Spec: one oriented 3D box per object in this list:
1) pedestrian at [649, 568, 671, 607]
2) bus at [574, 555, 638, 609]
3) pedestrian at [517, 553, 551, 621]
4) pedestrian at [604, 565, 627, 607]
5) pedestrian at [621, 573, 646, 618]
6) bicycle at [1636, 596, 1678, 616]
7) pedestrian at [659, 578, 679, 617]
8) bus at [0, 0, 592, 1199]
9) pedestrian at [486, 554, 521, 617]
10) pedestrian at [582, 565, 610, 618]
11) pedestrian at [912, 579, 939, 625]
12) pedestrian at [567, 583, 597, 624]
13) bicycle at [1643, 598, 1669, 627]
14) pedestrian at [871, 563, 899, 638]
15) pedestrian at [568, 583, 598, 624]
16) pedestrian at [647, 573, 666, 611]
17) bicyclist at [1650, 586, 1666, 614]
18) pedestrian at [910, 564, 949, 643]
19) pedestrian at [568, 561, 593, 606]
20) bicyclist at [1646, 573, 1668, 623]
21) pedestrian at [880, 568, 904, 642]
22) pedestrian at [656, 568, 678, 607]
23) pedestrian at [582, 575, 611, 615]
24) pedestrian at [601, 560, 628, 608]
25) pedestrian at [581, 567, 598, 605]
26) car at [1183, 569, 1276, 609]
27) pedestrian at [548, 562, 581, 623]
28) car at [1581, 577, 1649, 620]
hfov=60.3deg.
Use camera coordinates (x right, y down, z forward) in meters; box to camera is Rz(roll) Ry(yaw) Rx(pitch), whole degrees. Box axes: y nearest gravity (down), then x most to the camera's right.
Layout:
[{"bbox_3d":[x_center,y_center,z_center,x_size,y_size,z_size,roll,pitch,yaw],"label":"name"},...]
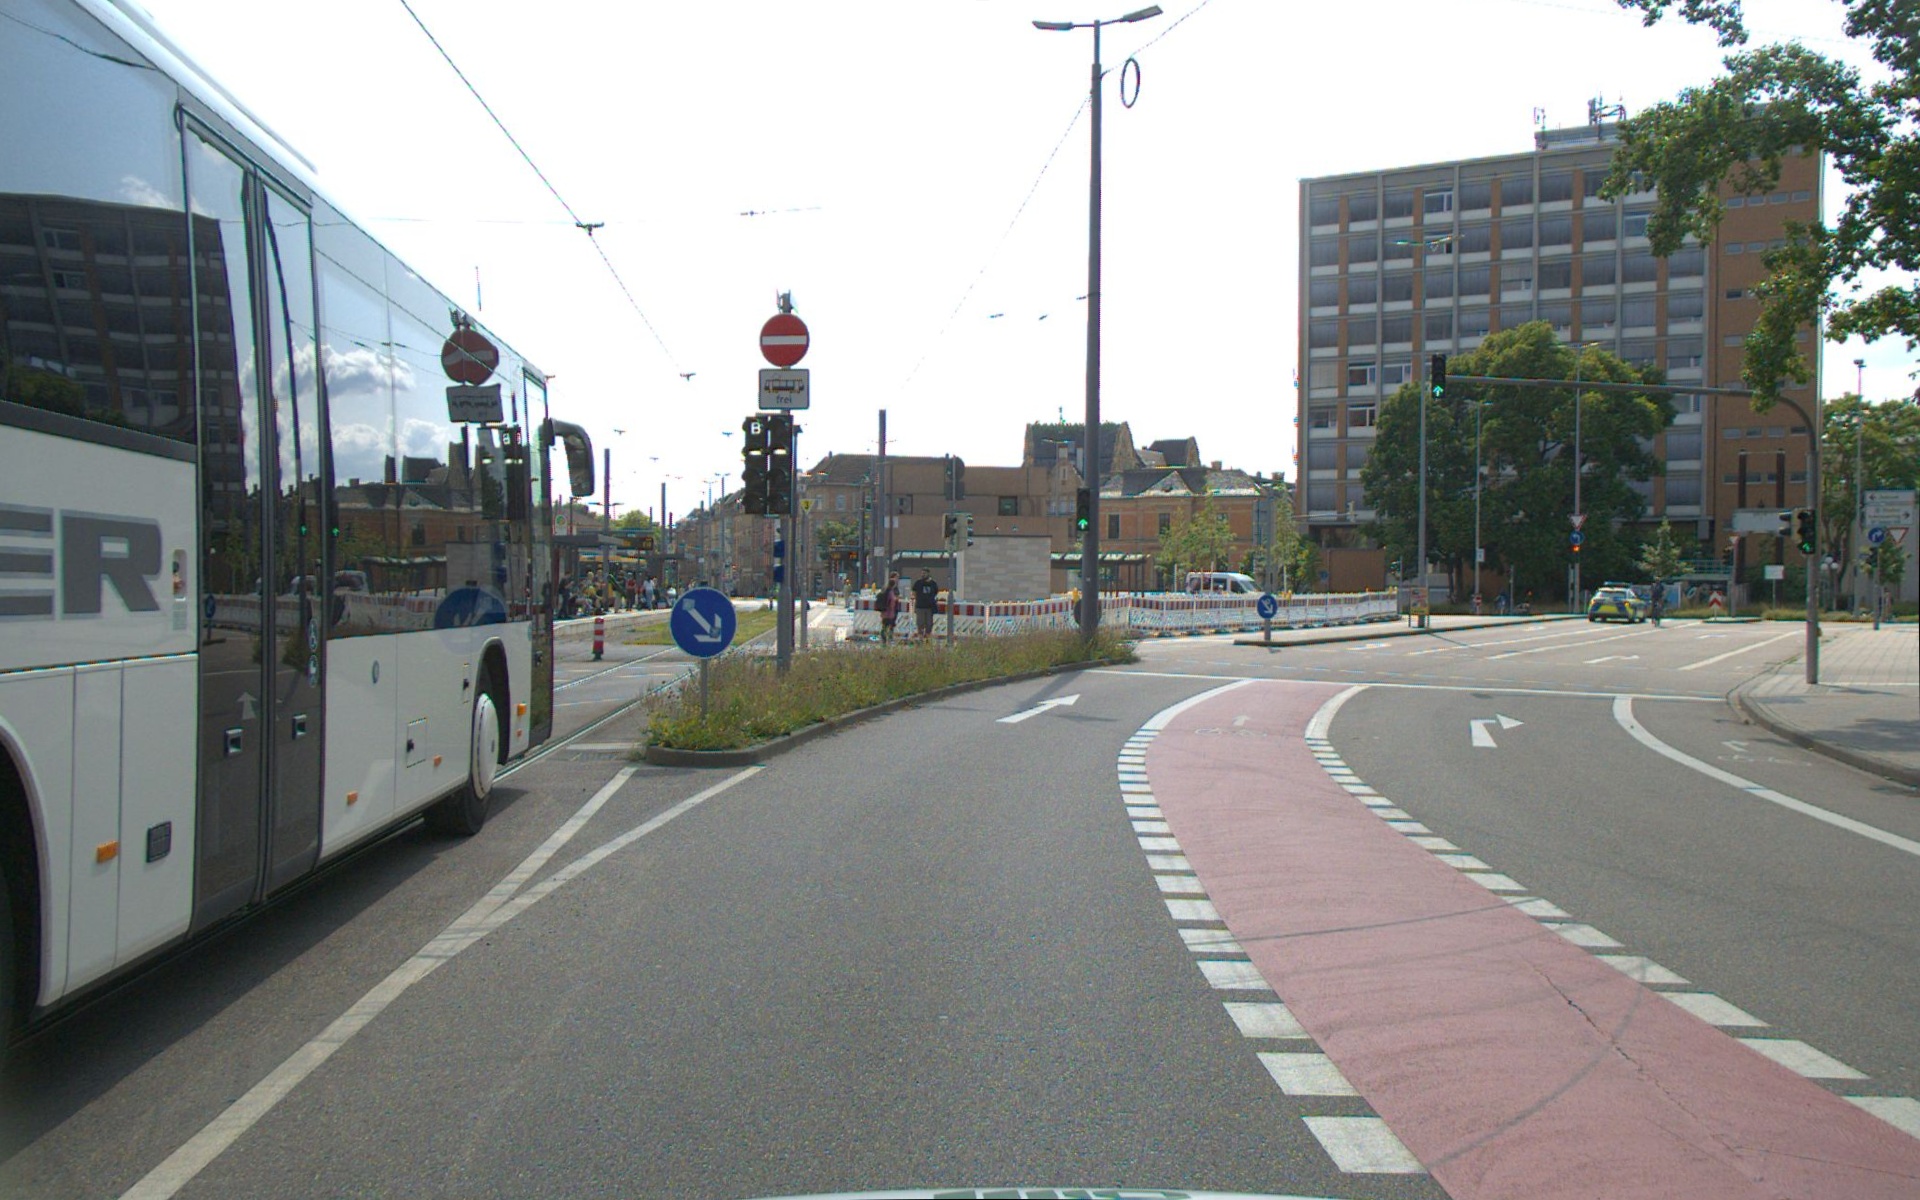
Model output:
[{"bbox_3d":[-15.713,-0.656,86.672,0.930,2.049,0.724,1,-1,-30],"label":"pedestrian"},{"bbox_3d":[-20.975,-1.063,98.485,2.375,3.034,10.533,0,0,-5],"label":"bus"},{"bbox_3d":[-12.995,-0.396,50.515,0.798,2.049,0.799,1,0,-2],"label":"pedestrian"},{"bbox_3d":[-17.375,-0.704,83.347,0.930,2.049,0.724,1,-1,-30],"label":"pedestrian"},{"bbox_3d":[-15.216,-0.197,77.110,0.932,2.049,0.722,2,-1,-34],"label":"pedestrian"},{"bbox_3d":[38.155,0.314,90.564,2.139,1.103,0.636,0,1,23],"label":"bicycle"},{"bbox_3d":[-15.744,-0.145,89.456,0.925,2.049,0.728,1,0,-15],"label":"pedestrian"},{"bbox_3d":[-3.717,-0.366,6.183,2.861,3.386,12.193,1,0,-5],"label":"bus"},{"bbox_3d":[-15.173,-0.488,55.011,0.922,2.049,0.731,1,0,-2],"label":"pedestrian"},{"bbox_3d":[-14.466,-0.337,65.741,0.922,2.049,0.731,1,0,-2],"label":"pedestrian"},{"bbox_3d":[-1.375,0.077,66.108,0.916,1.821,1.176,1,0,-9],"label":"pedestrian"},{"bbox_3d":[-13.753,0.134,60.160,0.922,1.456,0.731,1,0,-2],"label":"pedestrian"},{"bbox_3d":[27.956,0.497,66.424,0.707,1.103,2.186,0,1,30],"label":"bicycle"},{"bbox_3d":[-1.752,0.004,38.535,0.598,1.736,0.623,0,0,2],"label":"pedestrian"},{"bbox_3d":[-13.912,0.133,61.007,0.922,1.456,0.731,1,0,-2],"label":"pedestrian"},{"bbox_3d":[-16.600,-0.431,90.531,0.925,2.049,0.728,1,0,-15],"label":"pedestrian"},{"bbox_3d":[38.205,0.004,90.541,0.820,1.496,0.636,0,1,23],"label":"bicyclist"},{"bbox_3d":[-0.743,0.081,40.131,0.779,1.918,0.610,0,0,-19],"label":"pedestrian"},{"bbox_3d":[-17.766,-0.779,77.384,0.932,2.049,0.722,2,-1,-34],"label":"pedestrian"},{"bbox_3d":[28.030,-0.092,66.548,0.705,2.008,0.838,0,1,30],"label":"bicyclist"},{"bbox_3d":[-1.641,0.122,39.676,0.400,1.766,0.621,0,0,15],"label":"pedestrian"},{"bbox_3d":[-15.545,-0.649,87.633,0.930,2.049,0.724,1,-1,-30],"label":"pedestrian"},{"bbox_3d":[-13.604,-0.179,61.870,0.922,1.456,0.731,1,0,-2],"label":"pedestrian"},{"bbox_3d":[-15.026,-0.685,71.918,0.930,2.049,0.724,1,-1,-30],"label":"pedestrian"},{"bbox_3d":[-19.951,-0.747,89.037,0.719,2.049,0.937,1,0,-24],"label":"pedestrian"},{"bbox_3d":[16.483,-0.664,101.262,2.280,2.359,5.507,0,0,-40],"label":"car"},{"bbox_3d":[-13.541,-0.256,56.638,0.922,2.049,0.731,1,0,-2],"label":"pedestrian"},{"bbox_3d":[27.954,-0.078,70.530,2.091,1.713,4.094,2,1,30],"label":"car"}]
